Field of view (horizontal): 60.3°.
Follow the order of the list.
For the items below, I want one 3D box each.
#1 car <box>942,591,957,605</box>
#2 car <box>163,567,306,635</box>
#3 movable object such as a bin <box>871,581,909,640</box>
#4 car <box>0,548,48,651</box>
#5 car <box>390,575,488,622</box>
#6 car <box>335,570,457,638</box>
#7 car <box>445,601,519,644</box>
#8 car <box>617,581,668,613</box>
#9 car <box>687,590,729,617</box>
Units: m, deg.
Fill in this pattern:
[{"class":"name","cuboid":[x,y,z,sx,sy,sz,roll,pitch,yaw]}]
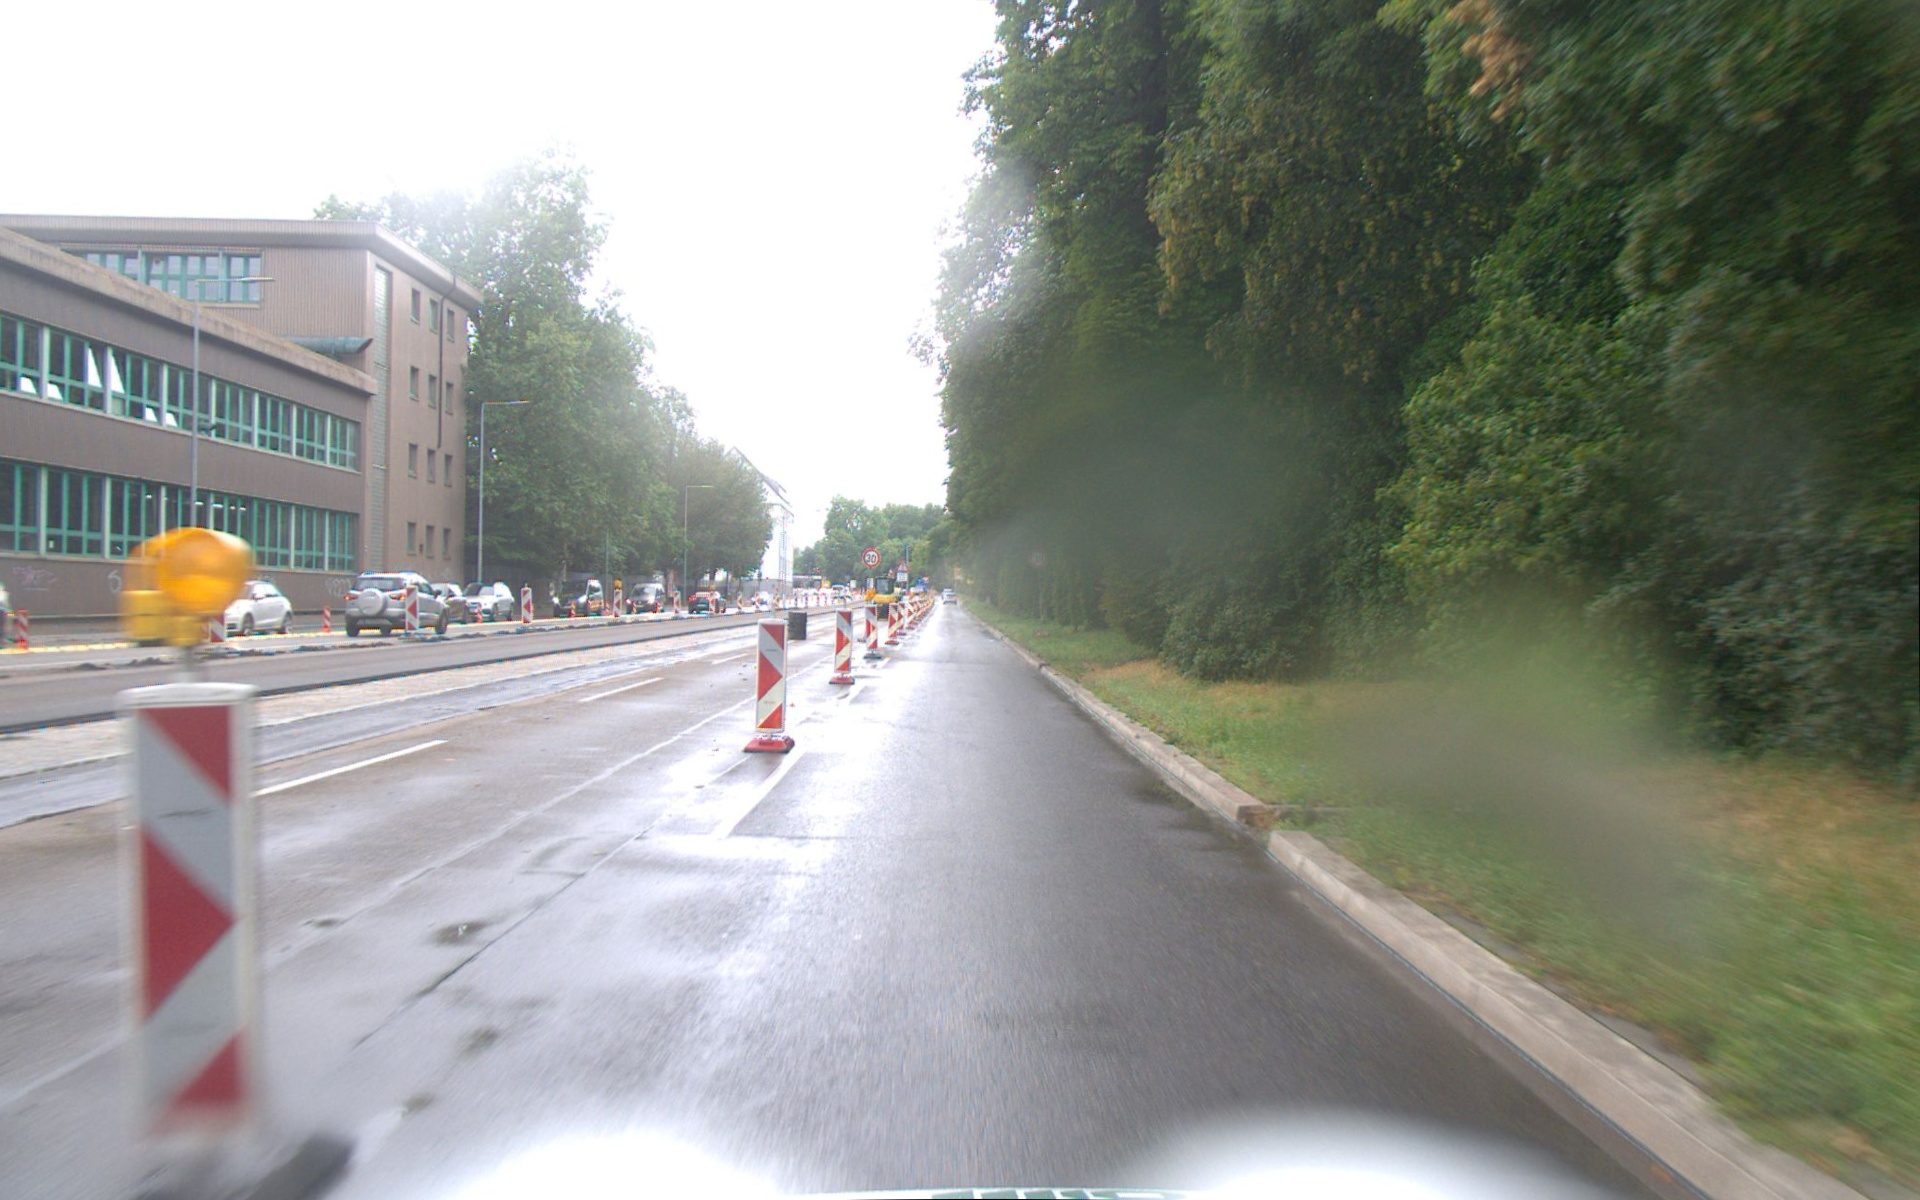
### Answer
[{"class":"car","cuboid":[-1.338,-0.209,212.450,1.953,1.702,3.999,2,-1,0]},{"class":"car","cuboid":[-18.017,0.043,41.267,1.767,1.561,3.991,2,-1,-1]},{"class":"movable object such as a bin","cuboid":[-4.207,0.666,100.149,1.953,3.426,5.981,2,-1,0]},{"class":"car","cuboid":[-17.816,-0.052,28.092,1.948,1.799,4.674,2,-1,1]},{"class":"car","cuboid":[-18.038,-0.022,57.461,1.855,1.528,4.516,2,-1,1]},{"class":"car","cuboid":[-14.822,0.130,43.684,1.817,1.677,3.999,2,-1,-1]},{"class":"car","cuboid":[-20.929,0.994,72.605,1.898,1.736,4.933,2,-1,-2]},{"class":"car","cuboid":[-19.024,-0.151,99.268,1.952,1.811,4.955,2,-1,1]},{"class":"car","cuboid":[-15.271,0.210,100.277,1.953,1.545,3.999,2,-1,-1]}]
